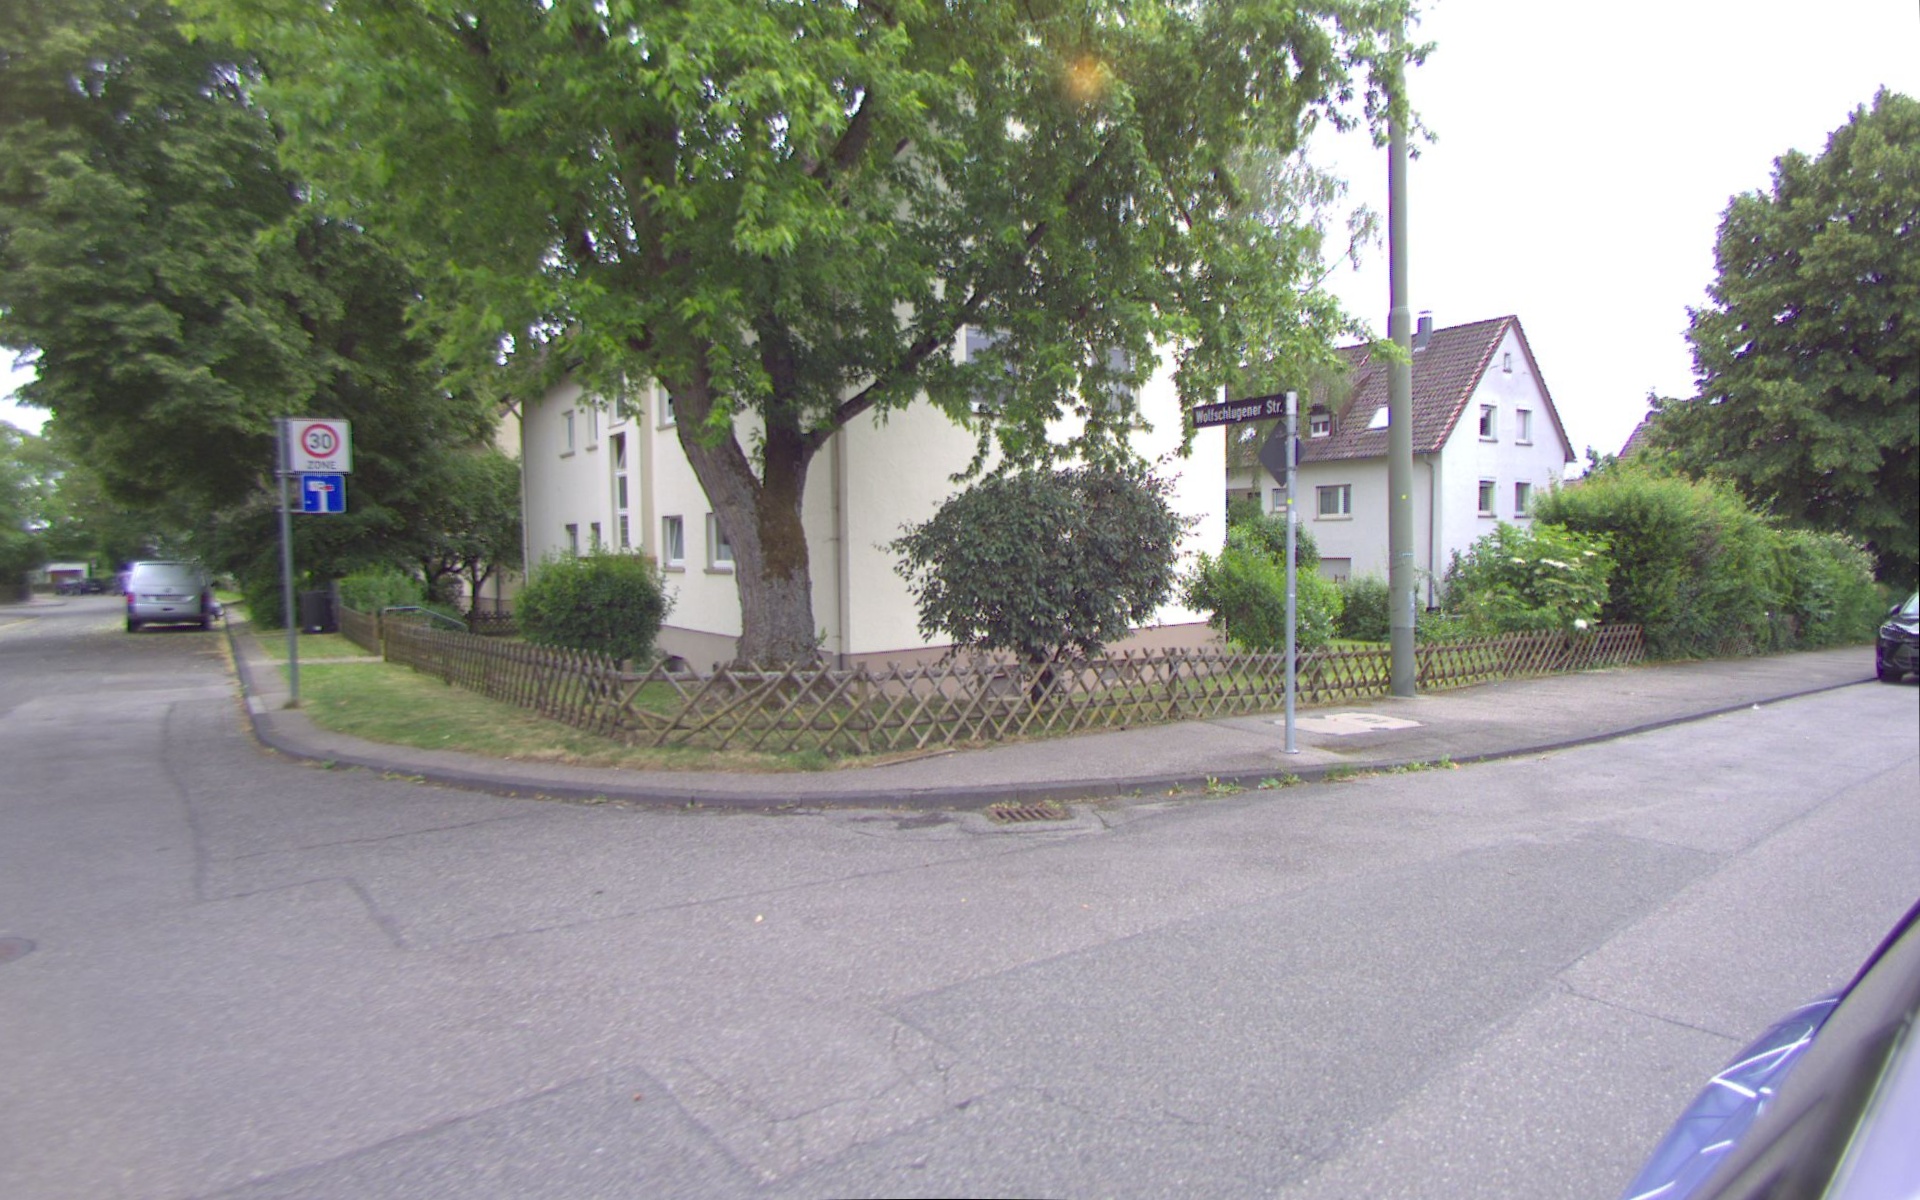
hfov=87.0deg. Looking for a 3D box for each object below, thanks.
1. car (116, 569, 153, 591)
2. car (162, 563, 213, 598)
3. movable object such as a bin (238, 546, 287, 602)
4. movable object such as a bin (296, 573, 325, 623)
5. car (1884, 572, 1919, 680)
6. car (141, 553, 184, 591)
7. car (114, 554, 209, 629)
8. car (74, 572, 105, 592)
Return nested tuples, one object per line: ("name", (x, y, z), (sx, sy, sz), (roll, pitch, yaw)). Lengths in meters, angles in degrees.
("car", (-62.182, -1.547, 76.215), (1.966, 1.571, 3.993), (-2, 3, -42))
("car", (-41.109, -1.069, 53.856), (1.965, 1.816, 3.995), (-2, 2, -40))
("movable object such as a bin", (-25.168, -0.947, 36.524), (1.350, 1.955, 1.201), (-1, 2, -39))
("movable object such as a bin", (-15.335, -0.058, 23.885), (0.512, 1.171, 0.428), (-1, 2, -41))
("car", (16.894, 0.351, 16.599), (4.456, 1.635, 1.816), (-2, 1, -37))
("car", (-52.935, -1.903, 67.184), (1.966, 2.439, 3.993), (-2, 2, -42))
("car", (-22.590, -0.291, 28.724), (1.964, 1.974, 3.998), (-1, 2, -38))
("car", (-71.191, -1.526, 82.761), (1.847, 1.571, 3.993), (-2, 3, -42))
